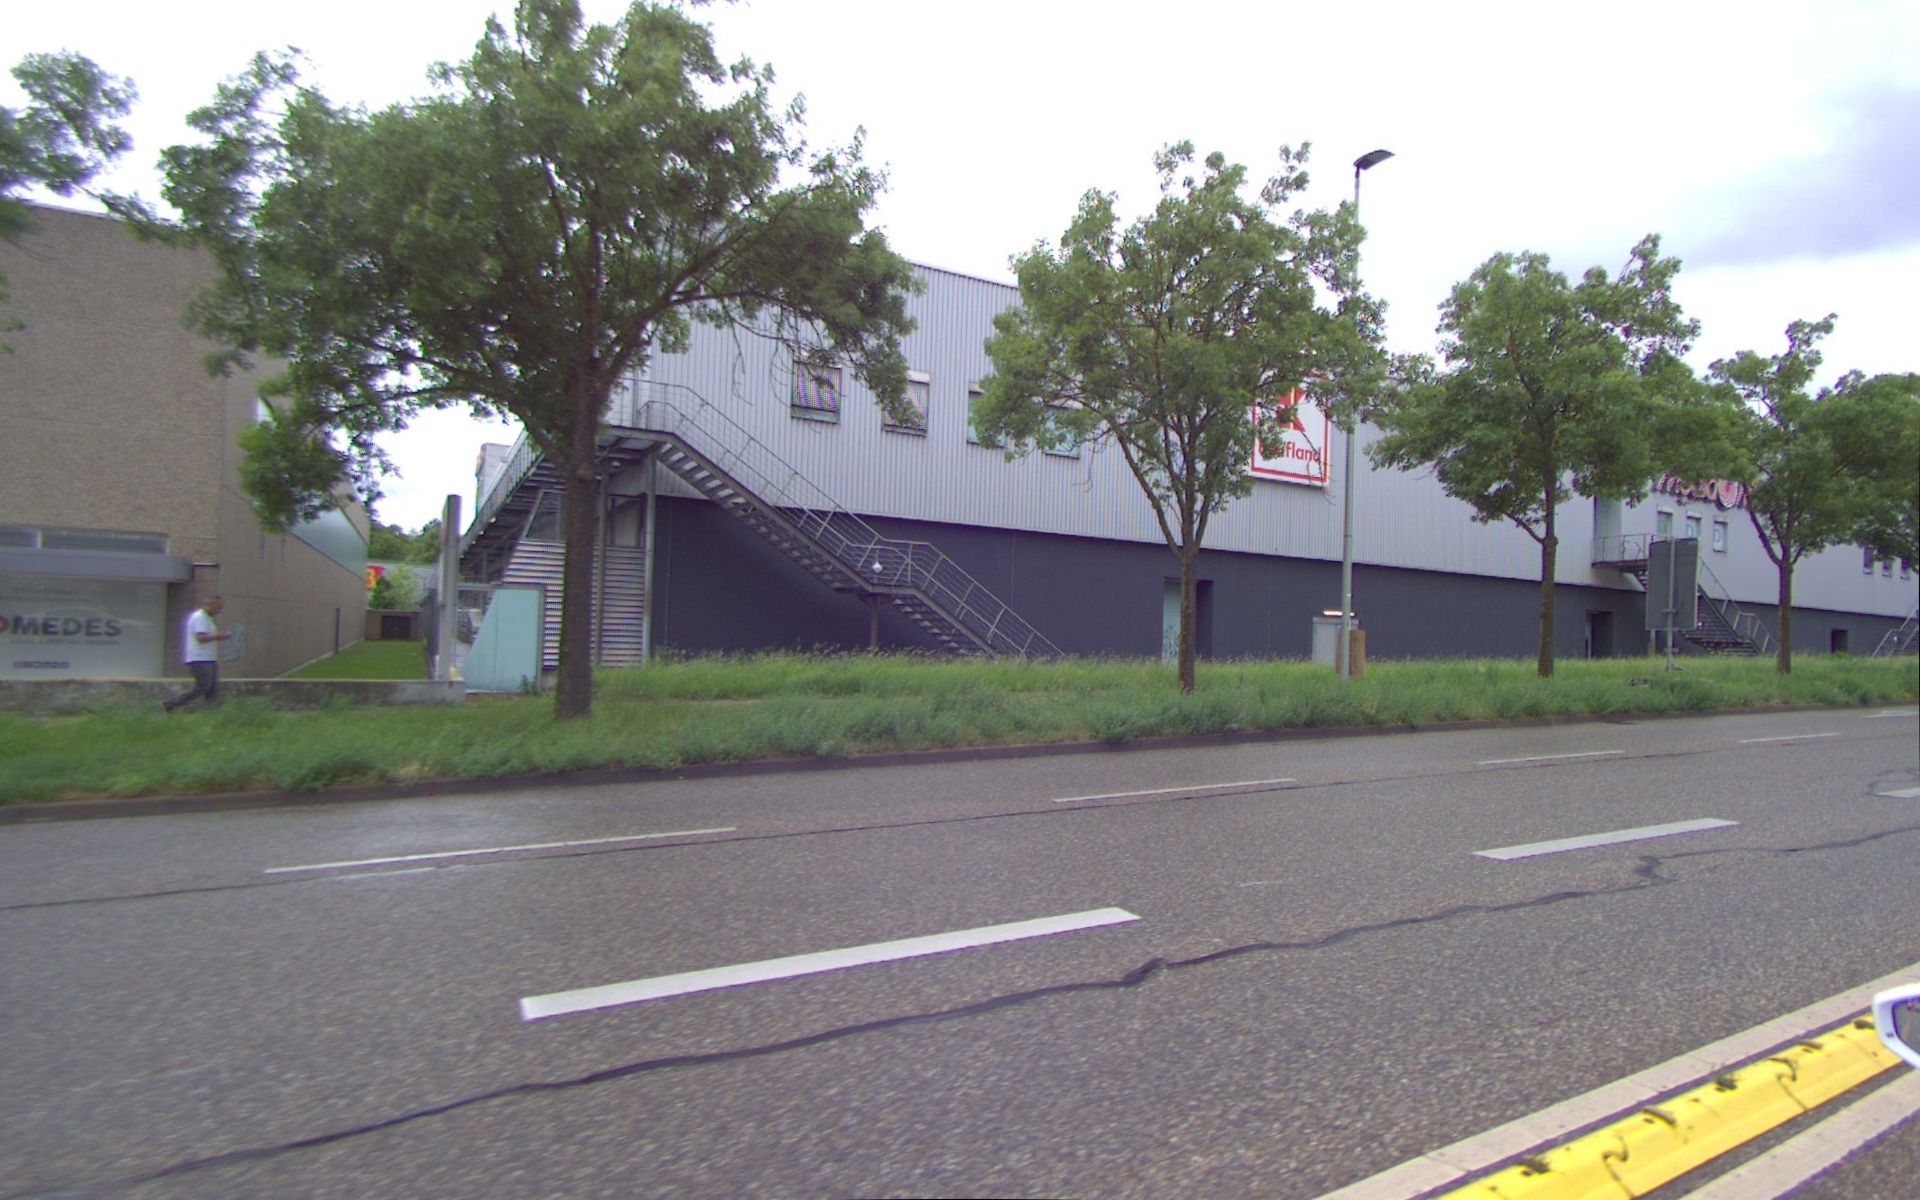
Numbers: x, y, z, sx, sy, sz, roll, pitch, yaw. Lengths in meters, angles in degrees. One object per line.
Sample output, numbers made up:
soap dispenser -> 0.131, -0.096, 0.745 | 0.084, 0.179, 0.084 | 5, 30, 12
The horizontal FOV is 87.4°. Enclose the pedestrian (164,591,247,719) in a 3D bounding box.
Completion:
pedestrian -> -9.769, 0.699, 13.031 | 0.757, 1.605, 0.582 | 1, 1, -28
